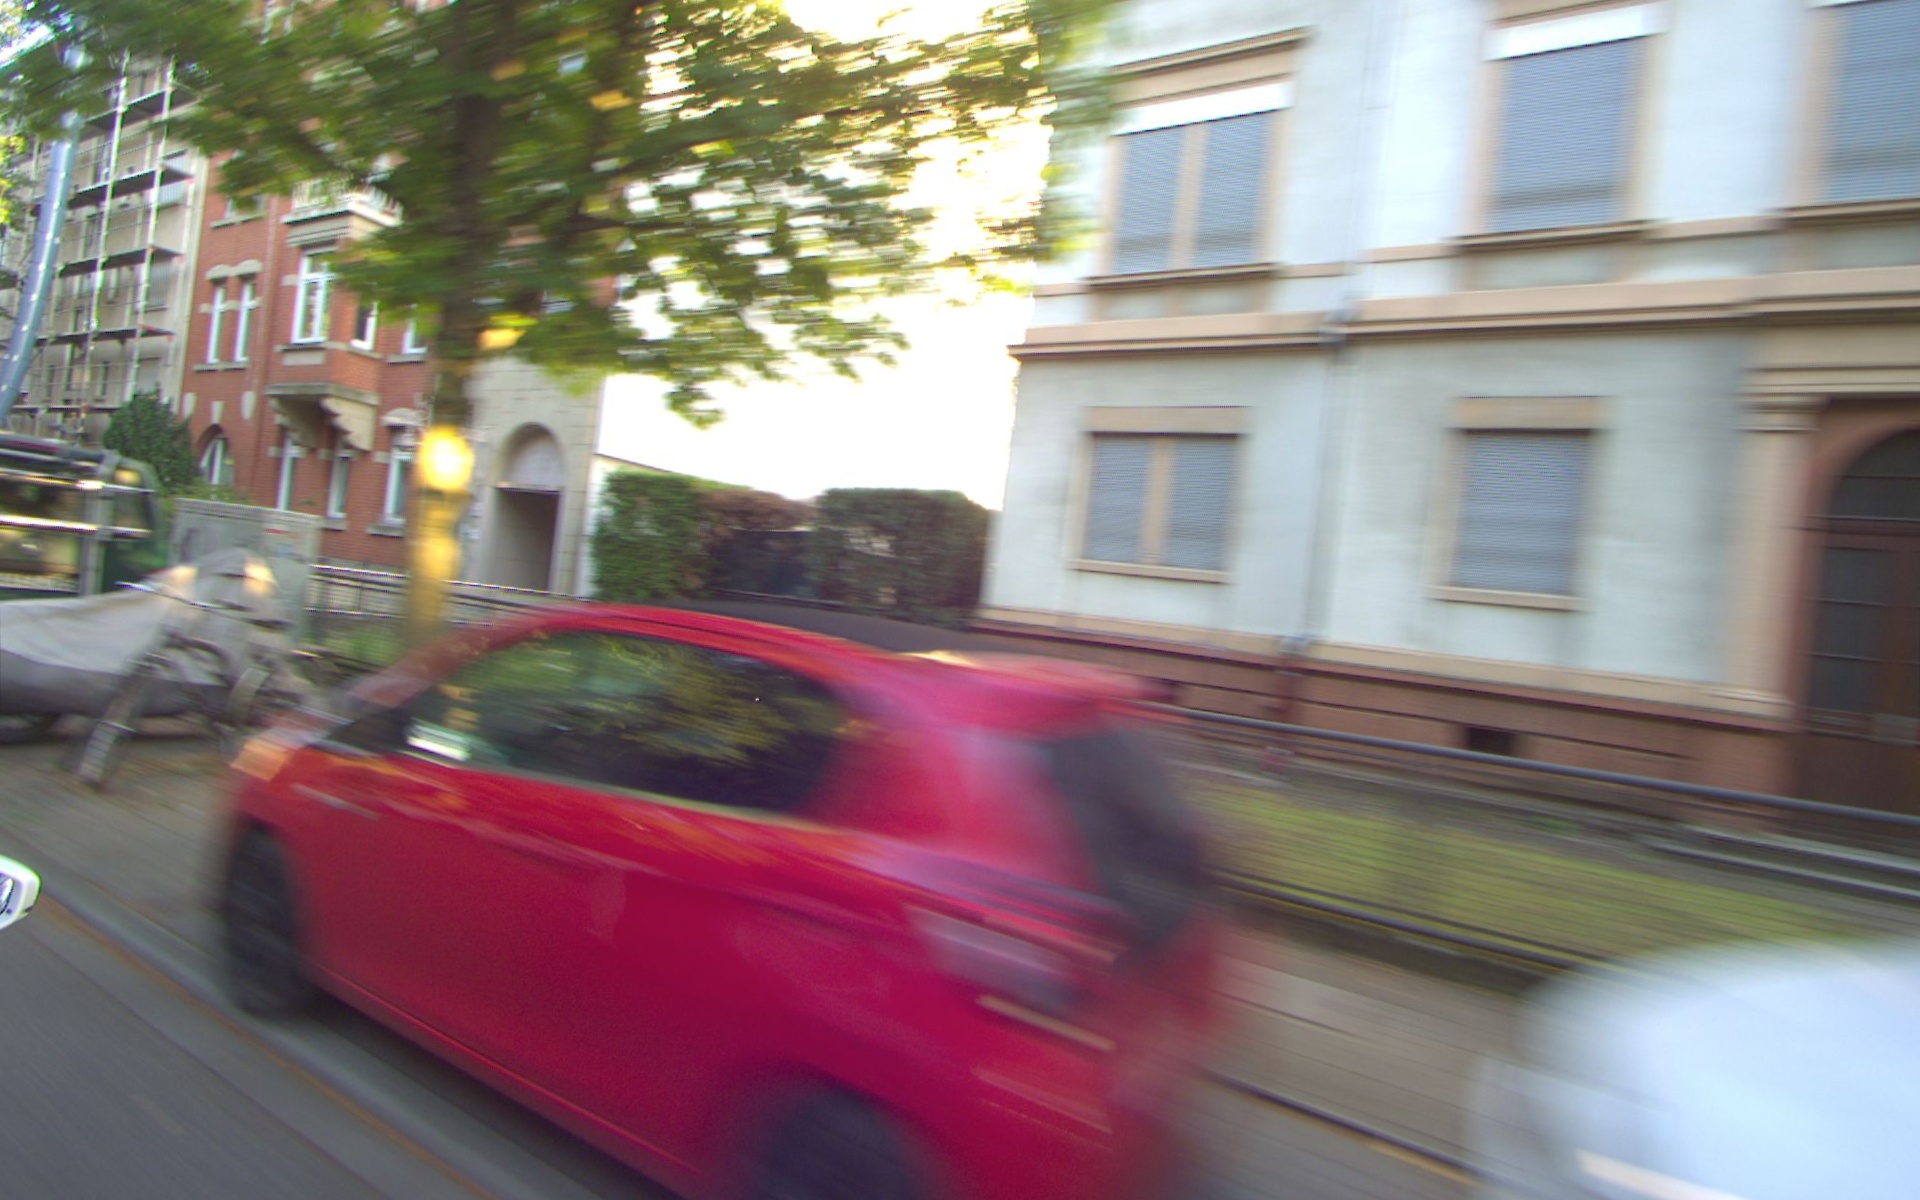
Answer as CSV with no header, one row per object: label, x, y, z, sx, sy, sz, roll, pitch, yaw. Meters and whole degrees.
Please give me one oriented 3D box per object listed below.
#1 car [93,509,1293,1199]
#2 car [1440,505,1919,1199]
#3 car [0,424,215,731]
car,-1.031,0.668,3.313,3.632,1.519,1.665,7,2,31
car,2.870,0.987,1.098,4.046,1.700,1.667,7,2,25
car,-8.405,-0.381,8.259,4.750,2.086,1.955,7,2,31
